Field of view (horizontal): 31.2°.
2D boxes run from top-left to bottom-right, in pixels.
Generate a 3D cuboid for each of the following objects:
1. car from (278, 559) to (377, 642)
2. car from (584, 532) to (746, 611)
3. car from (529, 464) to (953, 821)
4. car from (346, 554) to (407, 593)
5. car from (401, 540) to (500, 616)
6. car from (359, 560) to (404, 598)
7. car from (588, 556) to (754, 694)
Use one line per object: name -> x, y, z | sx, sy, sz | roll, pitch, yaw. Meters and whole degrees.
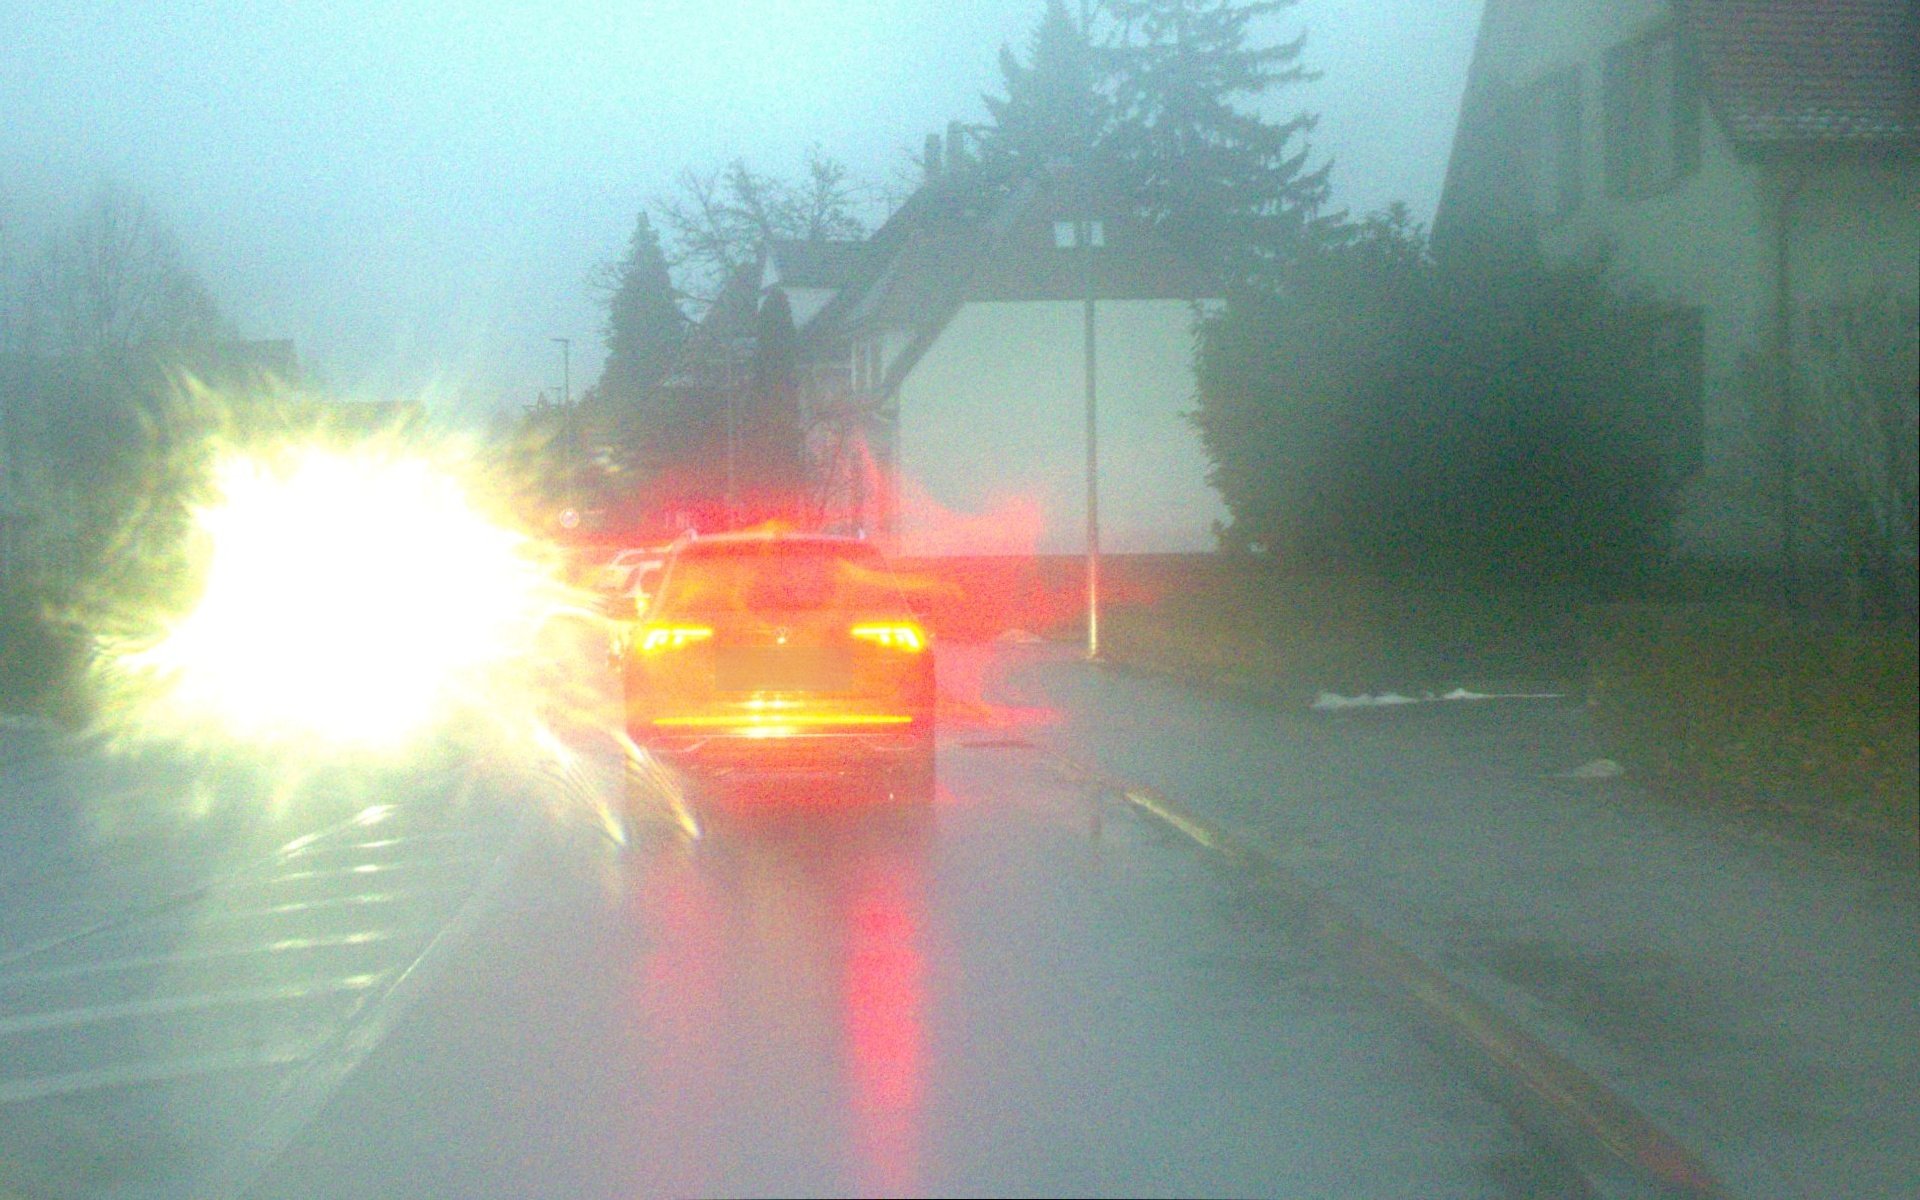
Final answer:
car -> -12.720, -0.008, 69.312 | 1.823, 1.548, 4.001 | -2, 1, -9
car -> -7.940, -0.778, 92.481 | 4.246, 2.007, 1.811 | -1, 1, -7
car -> -1.392, 0.219, 21.525 | 2.309, 1.932, 5.019 | -1, 0, -4
car -> -20.614, -0.942, 121.316 | 1.842, 1.327, 3.939 | -2, 1, -13
car -> -13.648, -0.583, 91.849 | 2.309, 1.932, 5.019 | -1, 0, -11
car -> -25.695, -0.944, 152.793 | 1.912, 1.517, 4.001 | -1, 2, -9
car -> -3.729, 0.279, 43.854 | 1.857, 1.641, 4.001 | 0, 1, -8
